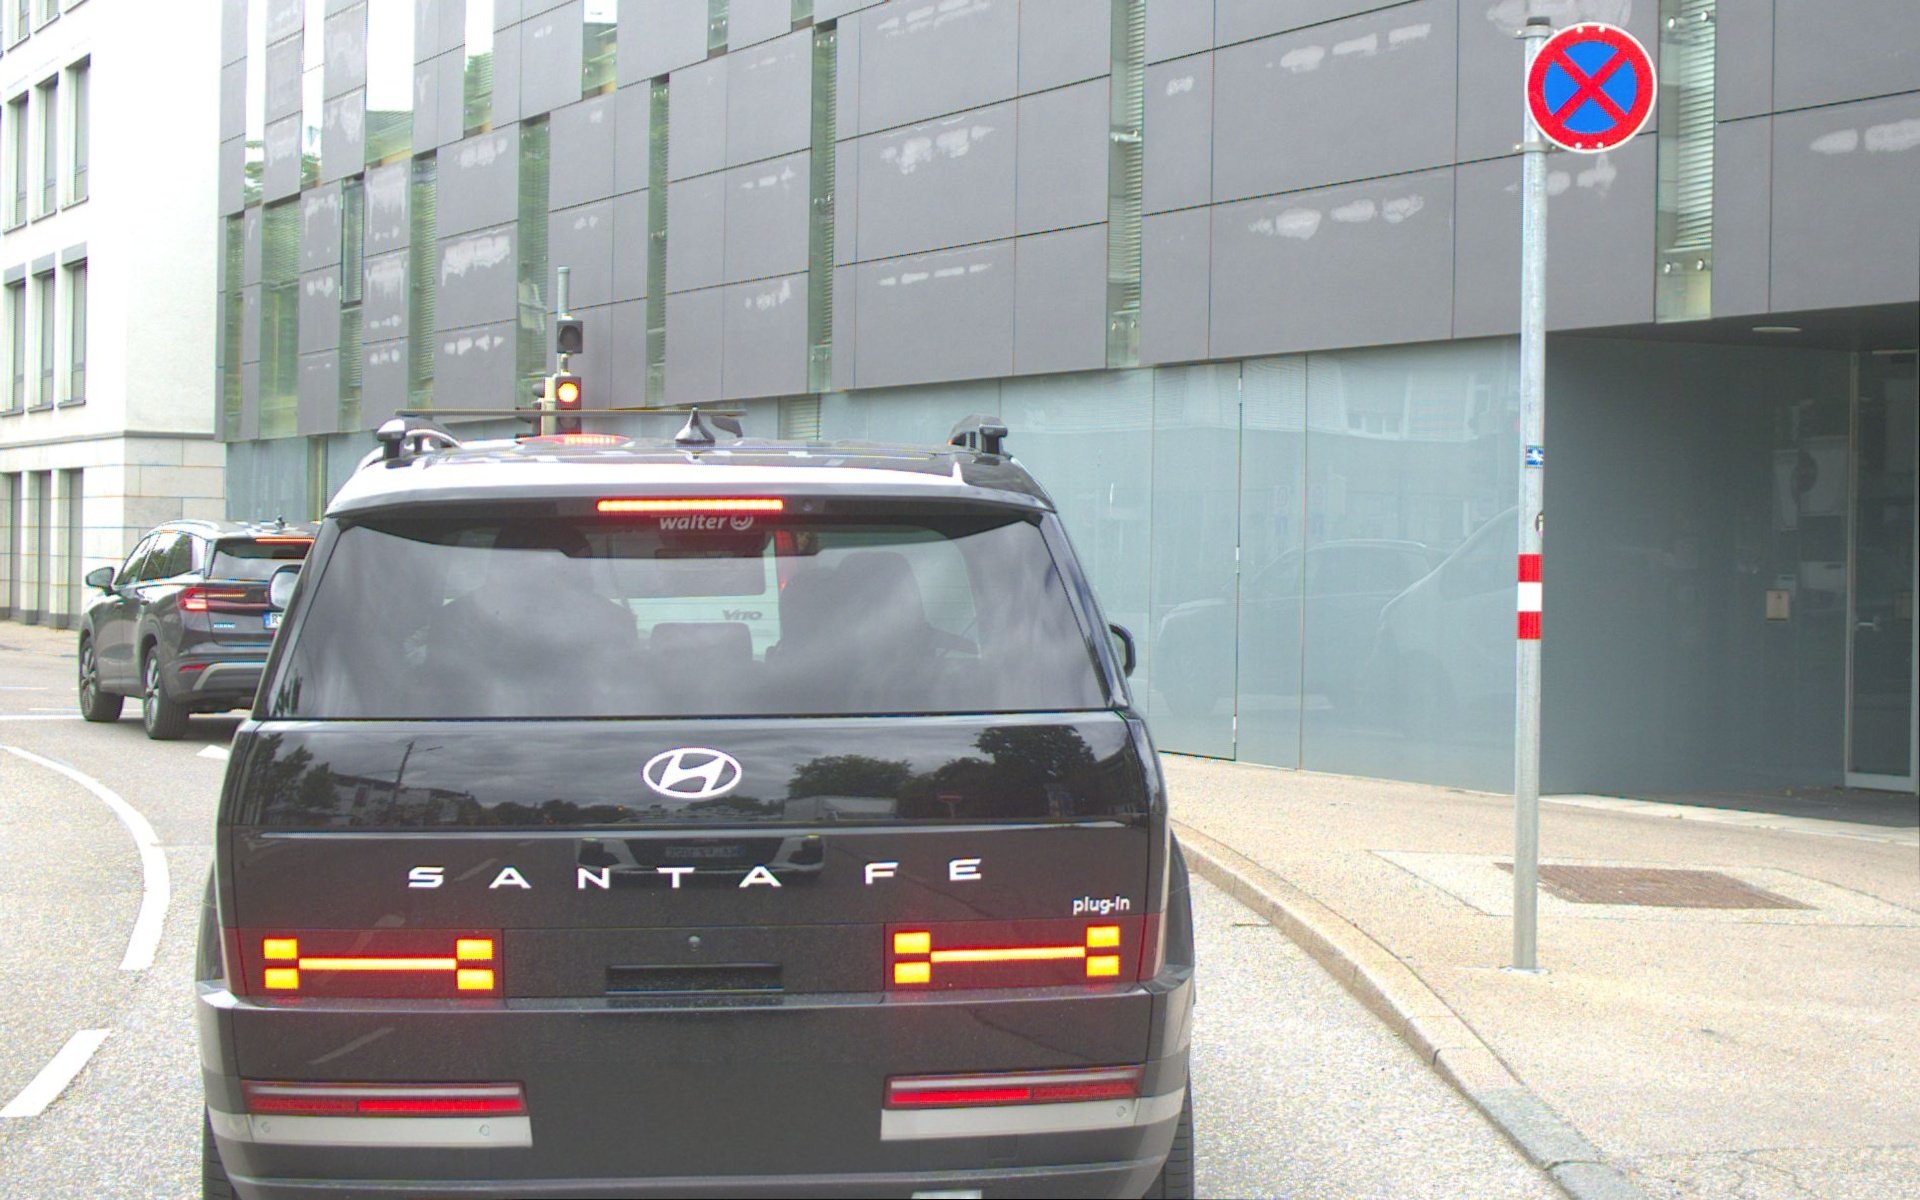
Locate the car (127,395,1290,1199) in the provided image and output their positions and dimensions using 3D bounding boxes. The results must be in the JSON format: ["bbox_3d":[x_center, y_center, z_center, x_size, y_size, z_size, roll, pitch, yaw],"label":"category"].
[{"bbox_3d":[-0.650,0.500,7.849,1.908,1.743,4.398,0,1,-7],"label":"car"}]

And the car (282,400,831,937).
[{"bbox_3d":[-1.939,0.223,15.147,1.931,1.987,4.536,1,1,-12],"label":"car"}]

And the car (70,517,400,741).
[{"bbox_3d":[-5.744,0.175,26.881,1.759,1.603,4.189,1,1,-23],"label":"car"}]
